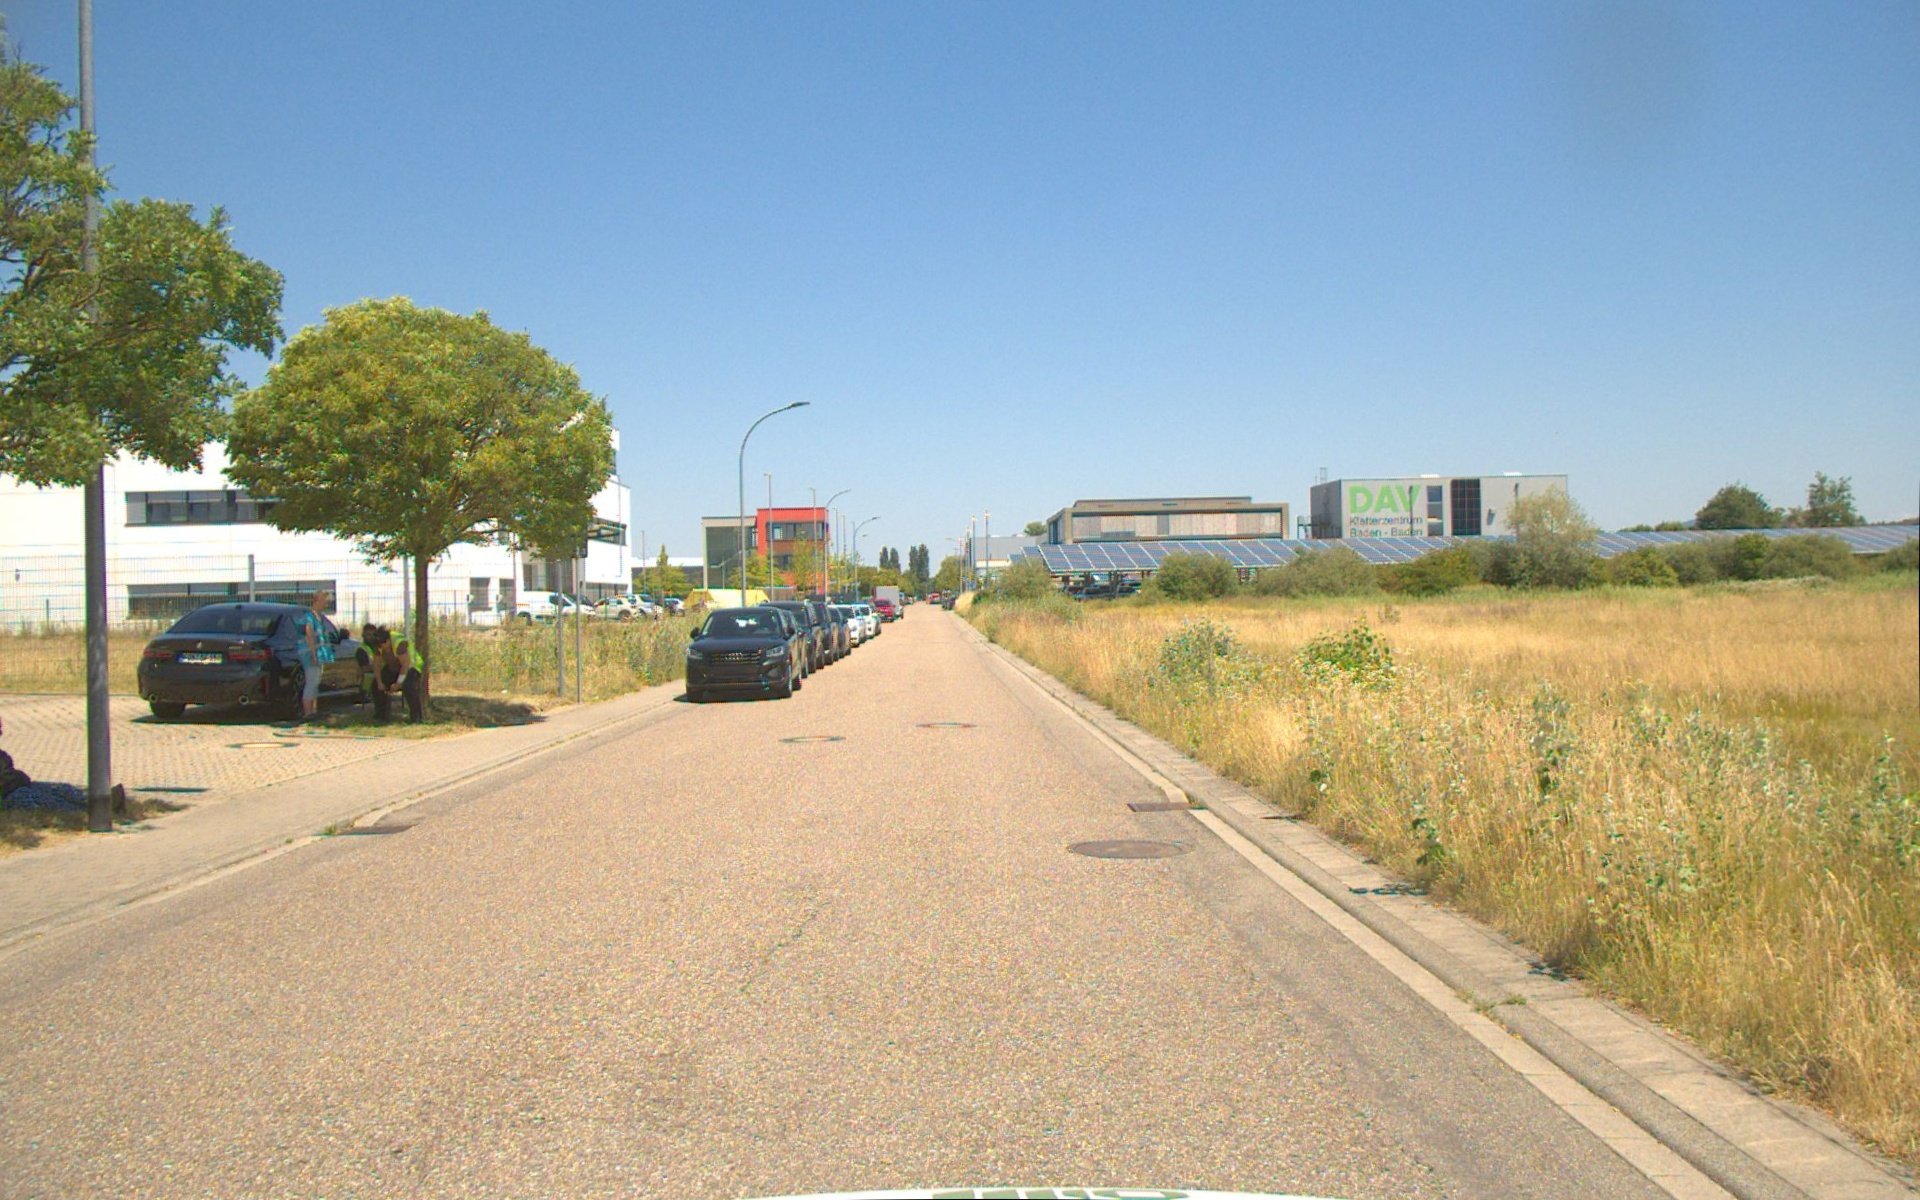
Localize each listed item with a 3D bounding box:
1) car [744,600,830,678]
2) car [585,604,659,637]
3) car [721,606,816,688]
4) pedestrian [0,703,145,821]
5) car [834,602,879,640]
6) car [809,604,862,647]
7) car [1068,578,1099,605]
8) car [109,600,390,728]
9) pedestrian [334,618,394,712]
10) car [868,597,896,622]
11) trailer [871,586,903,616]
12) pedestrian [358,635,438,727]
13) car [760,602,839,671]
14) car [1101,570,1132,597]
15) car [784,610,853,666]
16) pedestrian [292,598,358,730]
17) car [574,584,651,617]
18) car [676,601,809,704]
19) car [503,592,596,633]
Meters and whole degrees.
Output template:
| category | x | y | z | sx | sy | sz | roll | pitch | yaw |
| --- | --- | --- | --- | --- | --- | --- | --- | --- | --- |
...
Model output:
| category | x | y | z | sx | sy | sz | roll | pitch | yaw |
| --- | --- | --- | --- | --- | --- | --- | --- | --- | --- |
| car | -4.088 | 0.887 | 39.576 | 1.643 | 1.692 | 4.235 | -2 | 0 | -1 |
| car | -22.317 | 1.362 | 109.339 | 4.436 | 1.977 | 2.031 | -2 | 0 | -1 |
| car | -3.946 | 0.936 | 34.541 | 1.558 | 1.518 | 3.832 | -2 | 0 | -1 |
| pedestrian | -6.816 | 1.166 | 12.073 | 1.330 | 0.762 | 0.753 | 2 | 0 | 1 |
| car | -4.567 | 0.893 | 73.487 | 1.750 | 1.547 | 3.981 | -2 | 0 | -1 |
| car | -4.639 | 0.931 | 62.176 | 1.750 | 1.547 | 3.981 | -1 | 0 | -1 |
| car | 9.747 | -0.636 | 130.607 | 1.953 | 2.049 | 3.999 | -2 | 0 | -1 |
| car | -9.357 | 0.777 | 22.263 | 1.888 | 1.490 | 4.690 | 1 | 0 | -2 |
| pedestrian | -8.000 | 0.861 | 22.213 | 0.495 | 1.212 | 0.753 | 1 | 0 | 1 |
| car | -5.226 | 0.629 | 111.393 | 1.750 | 1.547 | 3.981 | -2 | 0 | -1 |
| trailer | -5.413 | 0.073 | 122.792 | 2.156 | 2.175 | 4.284 | -2 | 0 | -1 |
| pedestrian | -7.068 | 1.010 | 20.822 | 0.735 | 1.118 | 0.647 | 1 | 0 | 3 |
| car | -4.304 | 0.934 | 44.813 | 1.733 | 1.692 | 4.551 | -2 | 0 | -1 |
| car | 12.344 | -1.266 | 130.487 | 1.953 | 2.049 | 3.999 | -2 | 0 | -1 |
| car | -4.302 | 1.126 | 50.817 | 1.733 | 1.511 | 5.013 | -2 | 0 | -1 |
| pedestrian | -8.027 | 0.793 | 20.933 | 0.495 | 1.623 | 0.753 | 1 | 0 | 1 |
| car | -22.318 | 0.040 | 106.401 | 4.436 | 1.977 | 2.031 | -2 | 0 | -1 |
| car | -3.736 | 0.856 | 29.042 | 1.888 | 1.594 | 4.188 | -2 | 0 | -2 |
| car | -22.060 | 0.665 | 88.961 | 4.436 | 1.977 | 2.031 | -2 | 0 | -1 |
